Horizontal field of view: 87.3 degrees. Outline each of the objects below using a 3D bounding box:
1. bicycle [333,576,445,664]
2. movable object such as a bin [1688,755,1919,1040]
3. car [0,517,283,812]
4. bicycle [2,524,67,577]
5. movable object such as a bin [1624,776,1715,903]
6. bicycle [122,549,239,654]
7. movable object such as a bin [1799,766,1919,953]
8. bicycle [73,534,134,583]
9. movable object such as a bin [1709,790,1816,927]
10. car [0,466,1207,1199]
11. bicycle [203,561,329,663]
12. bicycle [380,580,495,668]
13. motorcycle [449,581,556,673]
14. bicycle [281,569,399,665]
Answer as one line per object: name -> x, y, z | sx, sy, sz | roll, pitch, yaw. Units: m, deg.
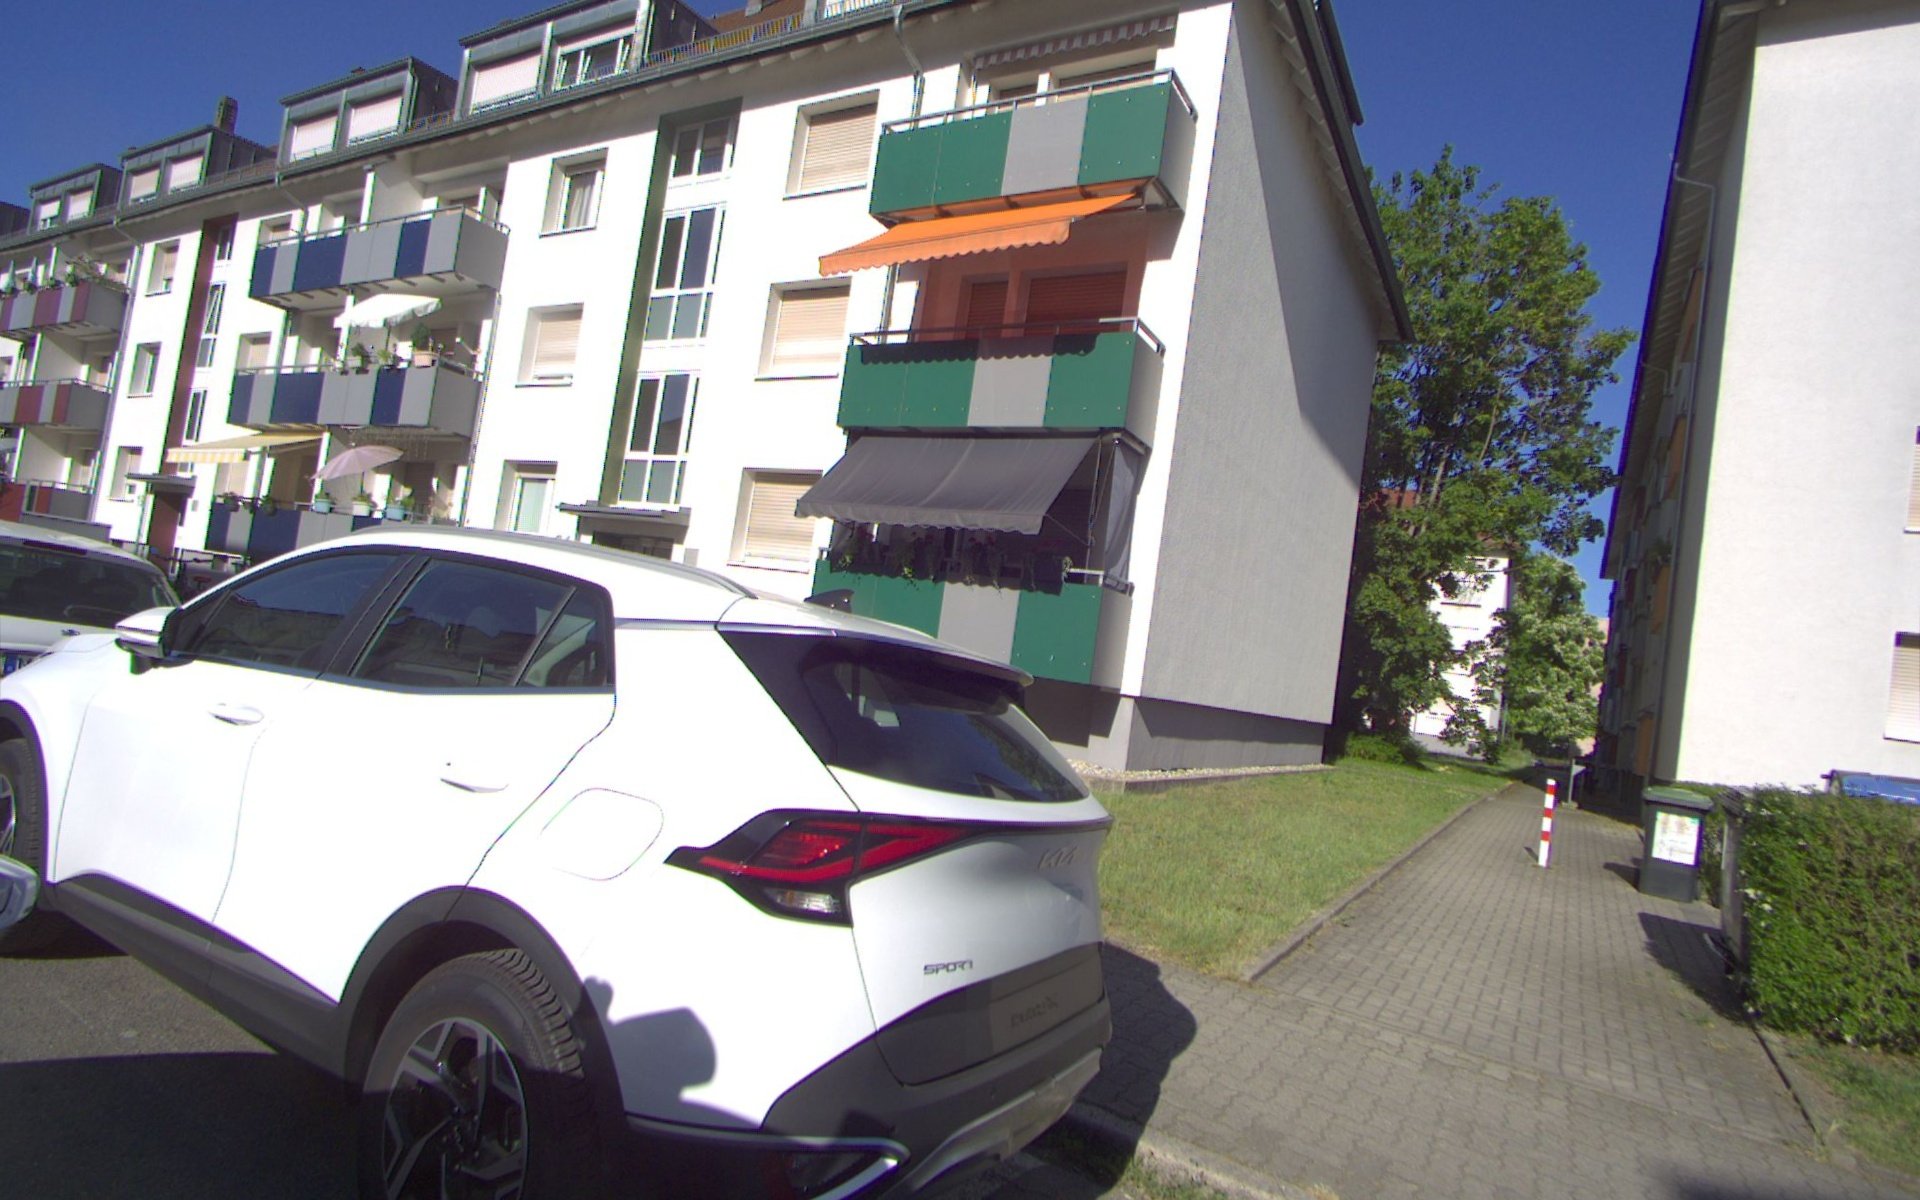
bicycle -> -8.558, 0.290, 15.053 | 1.841, 1.096, 0.539 | 7, 0, 31
movable object such as a bin -> 5.338, 1.801, 6.382 | 0.906, 1.464, 0.866 | 7, -2, 27
car -> -6.258, 0.182, 6.221 | 4.029, 1.432, 1.697 | 7, -6, 31
bicycle -> -22.690, -1.222, 24.659 | 2.250, 1.061, 0.521 | 7, -1, 32
movable object such as a bin -> 7.069, 2.371, 10.055 | 0.570, 1.066, 0.628 | 7, 0, 29
bicycle -> -10.397, -0.001, 13.401 | 1.842, 1.184, 0.545 | 6, -1, 33
movable object such as a bin -> 8.638, 2.364, 9.096 | 1.256, 1.464, 1.240 | 7, -2, 29
bicycle -> -21.913, -1.062, 25.719 | 1.942, 1.049, 0.521 | 7, -2, 32
movable object such as a bin -> 7.551, 2.412, 9.498 | 0.570, 1.066, 0.717 | 7, 0, 29
car -> -1.706, 0.611, 3.488 | 4.505, 1.608, 1.807 | 7, -5, 31
bicycle -> -9.416, 0.150, 13.625 | 1.841, 1.146, 0.578 | 7, -1, 31
bicycle -> -8.139, 0.368, 15.645 | 1.841, 1.129, 0.597 | 7, -1, 31
motorcycle -> -7.475, 0.424, 16.409 | 1.944, 1.252, 0.442 | 7, -1, 32
bicycle -> -8.901, 0.234, 14.424 | 1.841, 1.133, 0.545 | 7, -1, 31
